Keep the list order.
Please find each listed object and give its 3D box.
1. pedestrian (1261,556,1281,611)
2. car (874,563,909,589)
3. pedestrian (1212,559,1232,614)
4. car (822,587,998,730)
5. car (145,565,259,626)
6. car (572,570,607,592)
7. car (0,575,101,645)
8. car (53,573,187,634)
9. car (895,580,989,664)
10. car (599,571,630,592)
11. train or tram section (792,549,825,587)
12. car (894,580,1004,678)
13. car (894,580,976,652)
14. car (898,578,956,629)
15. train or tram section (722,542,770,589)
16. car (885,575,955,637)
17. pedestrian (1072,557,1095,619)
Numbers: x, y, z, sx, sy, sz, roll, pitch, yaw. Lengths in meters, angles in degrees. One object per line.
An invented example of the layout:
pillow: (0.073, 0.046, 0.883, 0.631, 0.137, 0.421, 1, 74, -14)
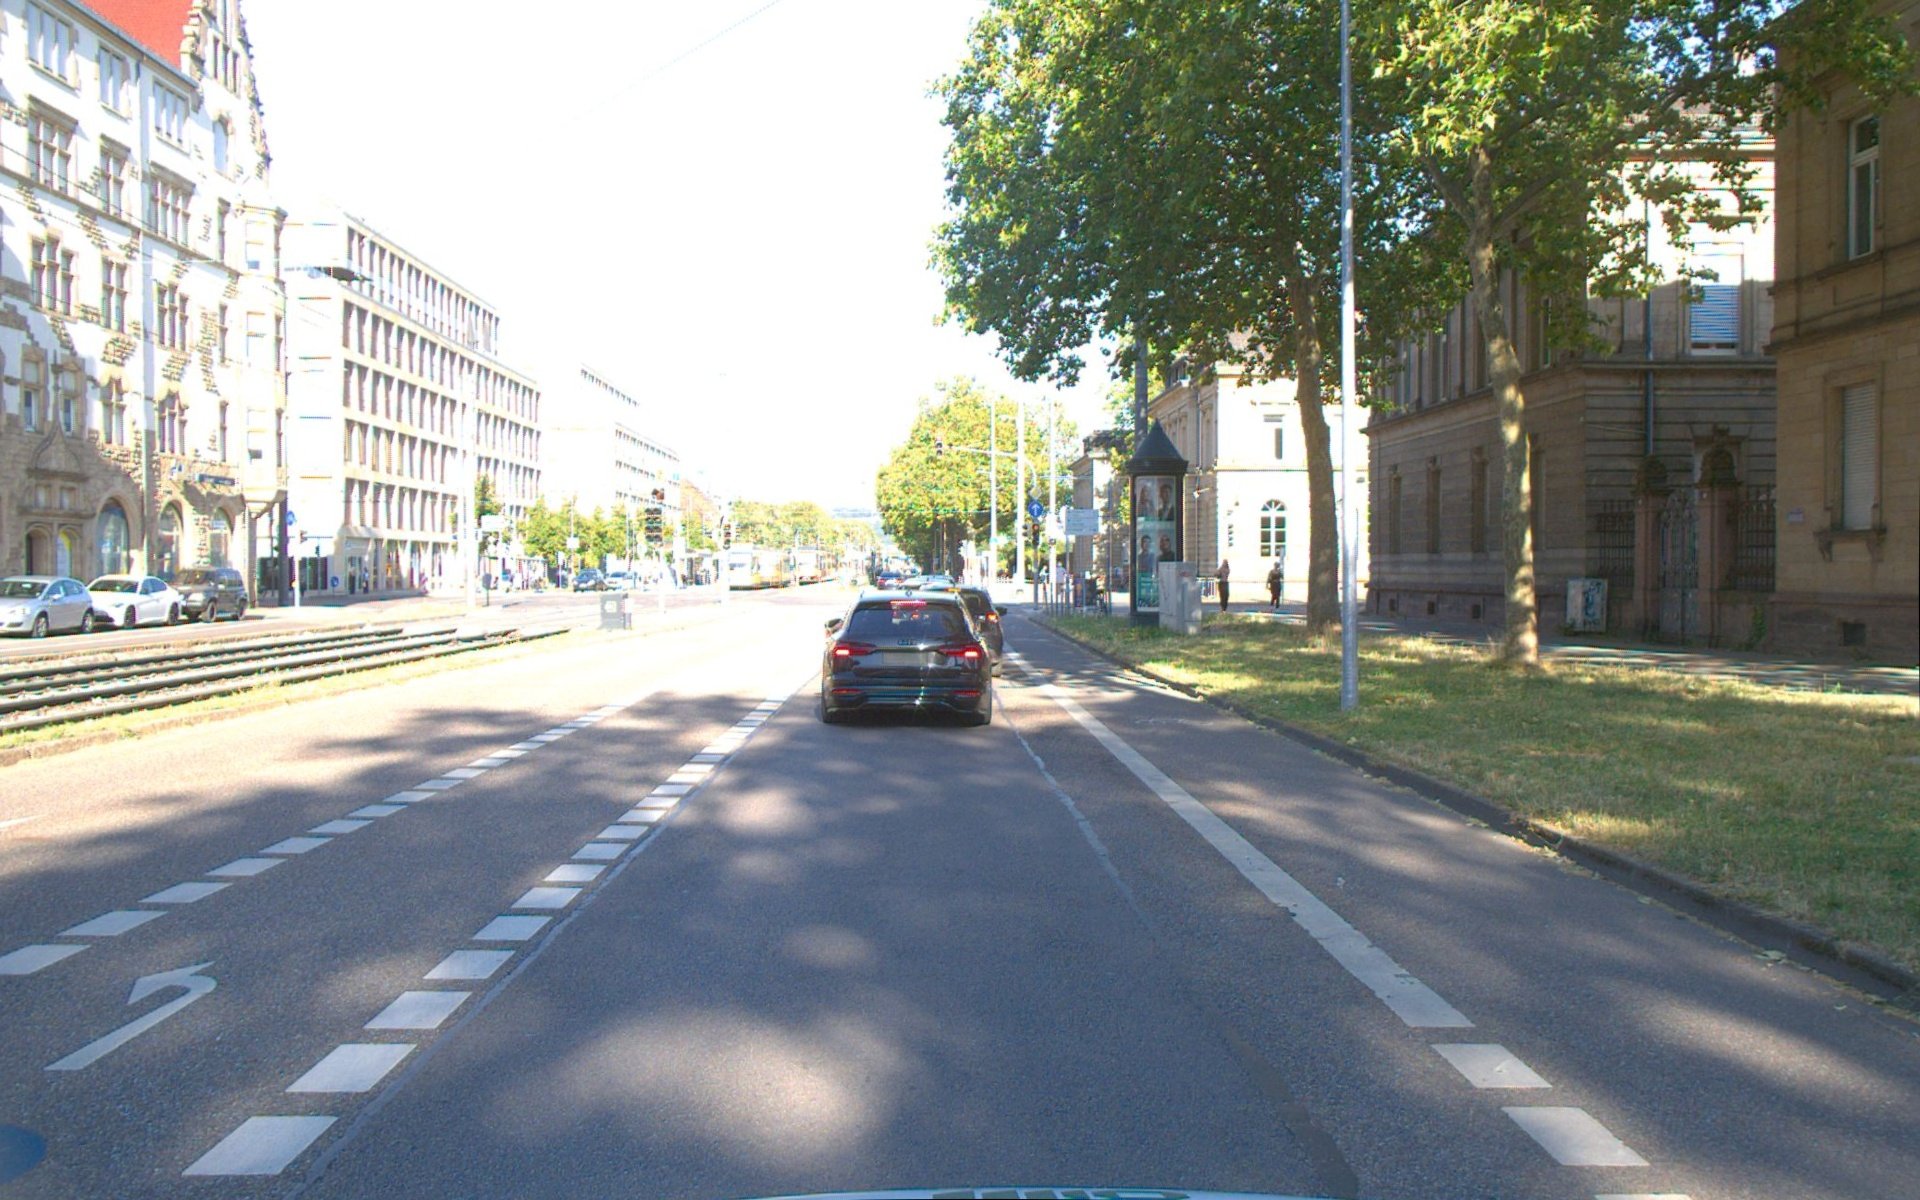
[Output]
pedestrian: (10.164, -0.538, 54.026, 0.575, 1.758, 0.651, 2, 1, 13)
car: (-4.349, -1.513, 105.330, 1.756, 1.536, 4.002, 1, 0, 4)
pedestrian: (8.575, -0.454, 54.157, 0.575, 1.758, 0.651, 2, 1, 11)
car: (-0.587, 0.586, 19.051, 1.796, 1.415, 4.157, 0, 1, -2)
car: (-23.936, -0.176, 52.391, 1.758, 1.748, 4.183, 3, 1, -3)
car: (-26.203, -1.347, 117.098, 1.759, 1.536, 3.997, -1, 1, -4)
car: (-23.268, 0.211, 41.359, 1.760, 1.536, 3.995, 3, 1, -6)
car: (-23.697, 0.067, 46.830, 1.758, 1.536, 4.183, 3, 1, -3)
car: (-0.372, 0.387, 33.071, 1.758, 1.536, 3.999, -1, 1, -1)
car: (-26.210, -1.450, 125.491, 1.759, 1.536, 3.997, -1, 1, -4)
train or tram section: (-14.688, -3.130, 160.687, 2.769, 3.511, 9.059, -1, 1, -3)
car: (-0.213, 0.443, 28.581, 1.758, 1.536, 3.999, -1, 1, -1)
car: (-0.581, 0.324, 37.806, 1.758, 1.536, 3.999, -1, 1, -1)
car: (-1.035, 0.070, 52.513, 1.758, 1.536, 3.999, -1, 1, -1)
train or tram section: (-16.638, -2.713, 129.269, 2.768, 3.511, 9.062, -1, 1, -1)
car: (-1.042, 0.115, 43.613, 1.758, 1.536, 3.999, -1, 1, -1)
pedestrian: (3.575, -0.353, 47.870, 0.575, 1.758, 0.651, 2, 1, 11)
